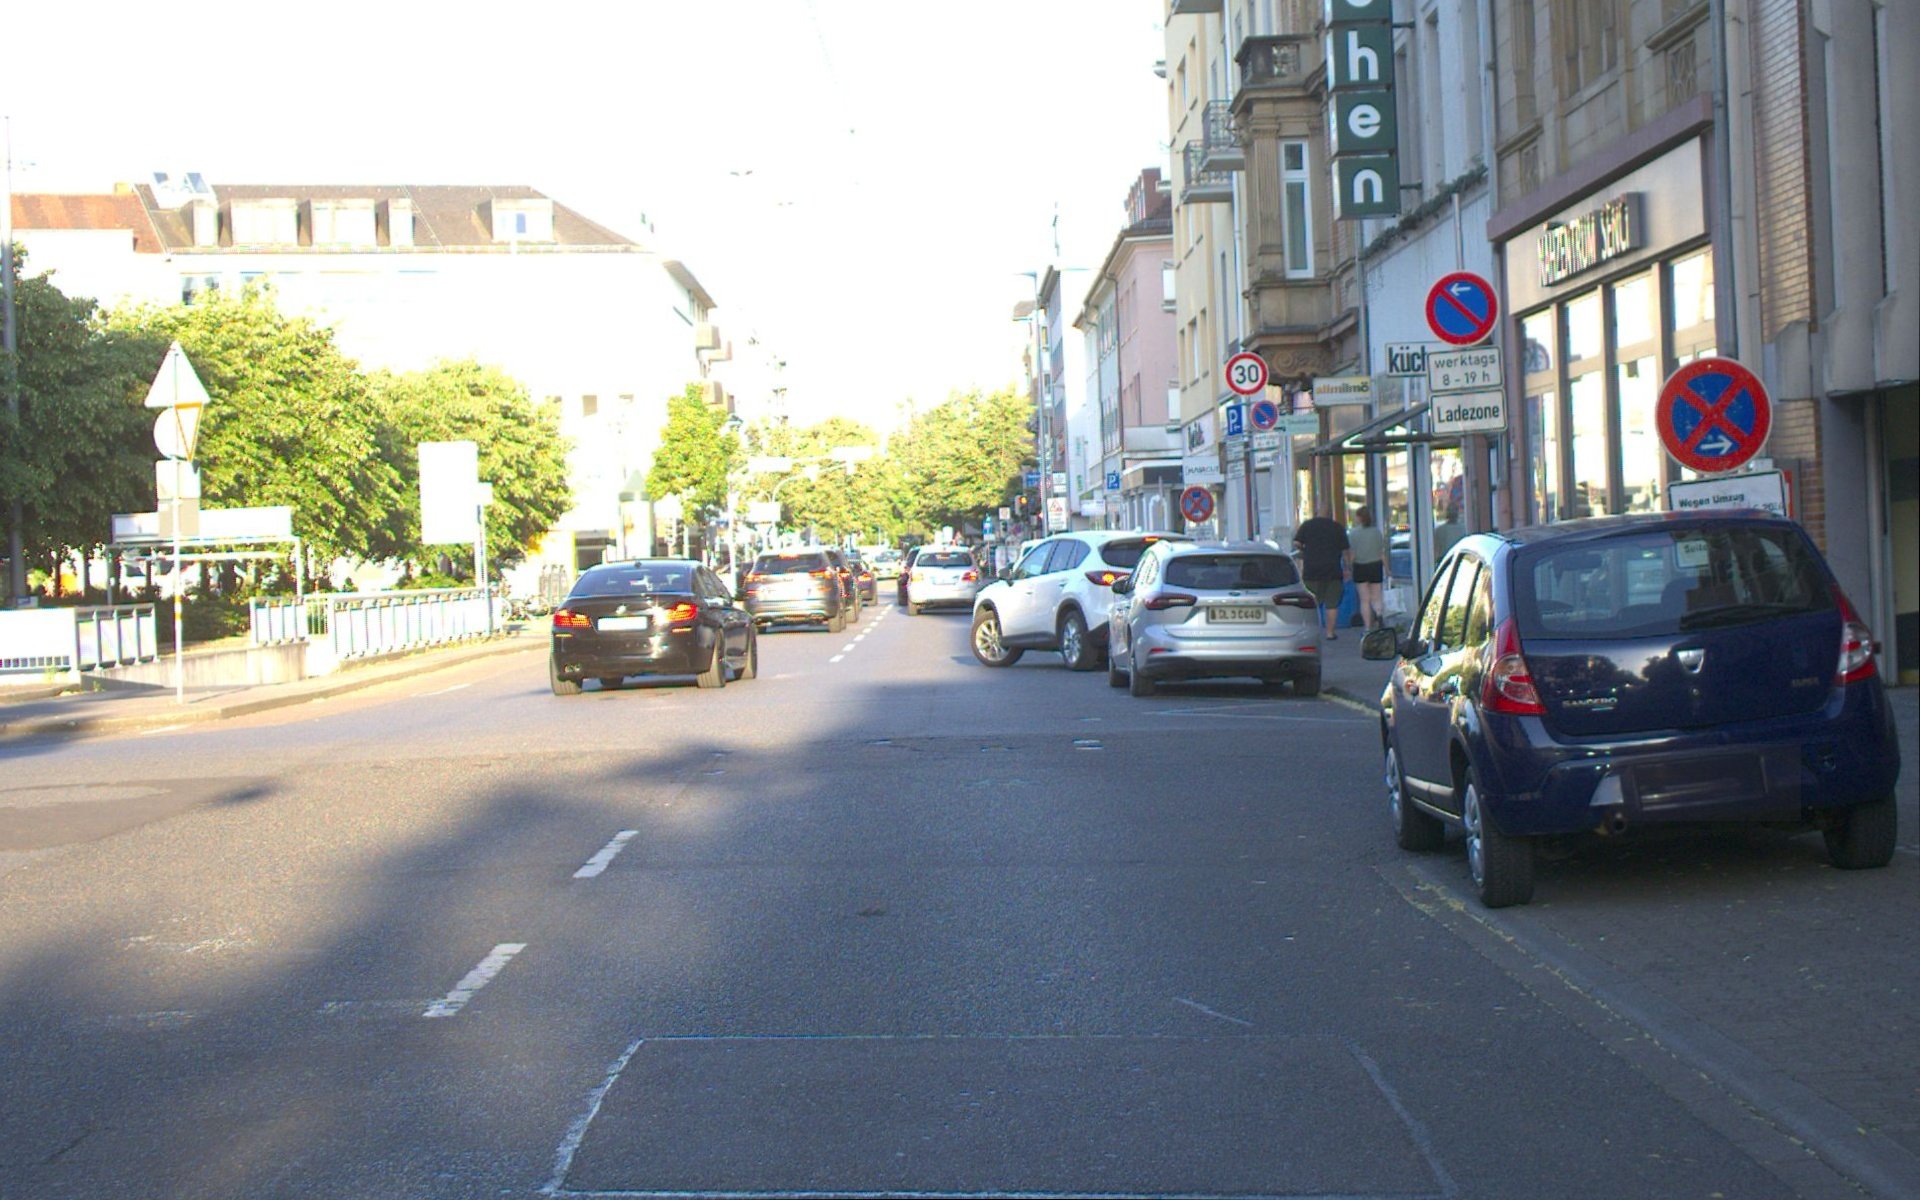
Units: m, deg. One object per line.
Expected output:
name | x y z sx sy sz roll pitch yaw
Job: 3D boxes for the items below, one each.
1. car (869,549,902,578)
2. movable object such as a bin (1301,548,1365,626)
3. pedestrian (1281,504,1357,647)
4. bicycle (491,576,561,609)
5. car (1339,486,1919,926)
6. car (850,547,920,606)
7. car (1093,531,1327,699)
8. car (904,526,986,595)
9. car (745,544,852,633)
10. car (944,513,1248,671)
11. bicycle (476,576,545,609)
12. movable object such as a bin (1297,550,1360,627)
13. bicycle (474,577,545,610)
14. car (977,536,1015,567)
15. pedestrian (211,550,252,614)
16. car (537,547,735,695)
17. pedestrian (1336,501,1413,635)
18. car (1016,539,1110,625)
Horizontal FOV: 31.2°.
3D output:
car | -4.121 -2.034 190.263 1.779 1.542 4.000 -1 1 -1
movable object such as a bin | 5.354 -0.187 49.405 0.774 1.066 0.618 -4 1 -1
pedestrian | 4.721 -0.331 45.290 0.772 1.821 1.011 -4 1 -1
bicycle | -11.630 -0.193 92.205 1.825 0.850 0.484 1 1 -4
car | 2.804 0.371 15.102 1.759 1.531 4.000 -5 1 1
car | -2.073 -0.680 95.498 1.896 1.575 3.852 1 1 -1
car | 2.371 0.126 33.685 1.759 1.531 4.822 0 0 -2
car | -0.378 -0.943 81.778 1.896 1.576 4.000 0 1 -1
car | -3.123 -0.242 67.081 1.896 1.644 4.104 -1 1 -1
car | 1.588 -0.099 42.131 1.993 1.755 4.467 -2 1 -22
bicycle | -12.178 -0.212 93.118 1.825 0.850 0.484 1 1 -4
movable object such as a bin | 5.370 -0.171 50.080 0.774 1.066 0.618 -4 1 -1
bicycle | -11.843 -0.170 90.402 1.825 0.850 0.484 1 1 -4
car | 1.958 -2.653 185.985 1.896 1.575 3.852 -3 1 -1
pedestrian | -18.234 -0.457 85.999 0.791 1.589 0.567 -1 1 19
car | -3.595 0.198 38.764 1.896 1.576 4.000 0 1 -1
pedestrian | 5.471 -0.424 45.437 0.772 1.705 1.042 -4 1 -1
car | 2.009 -0.363 67.851 1.730 1.645 4.284 0 0 0
